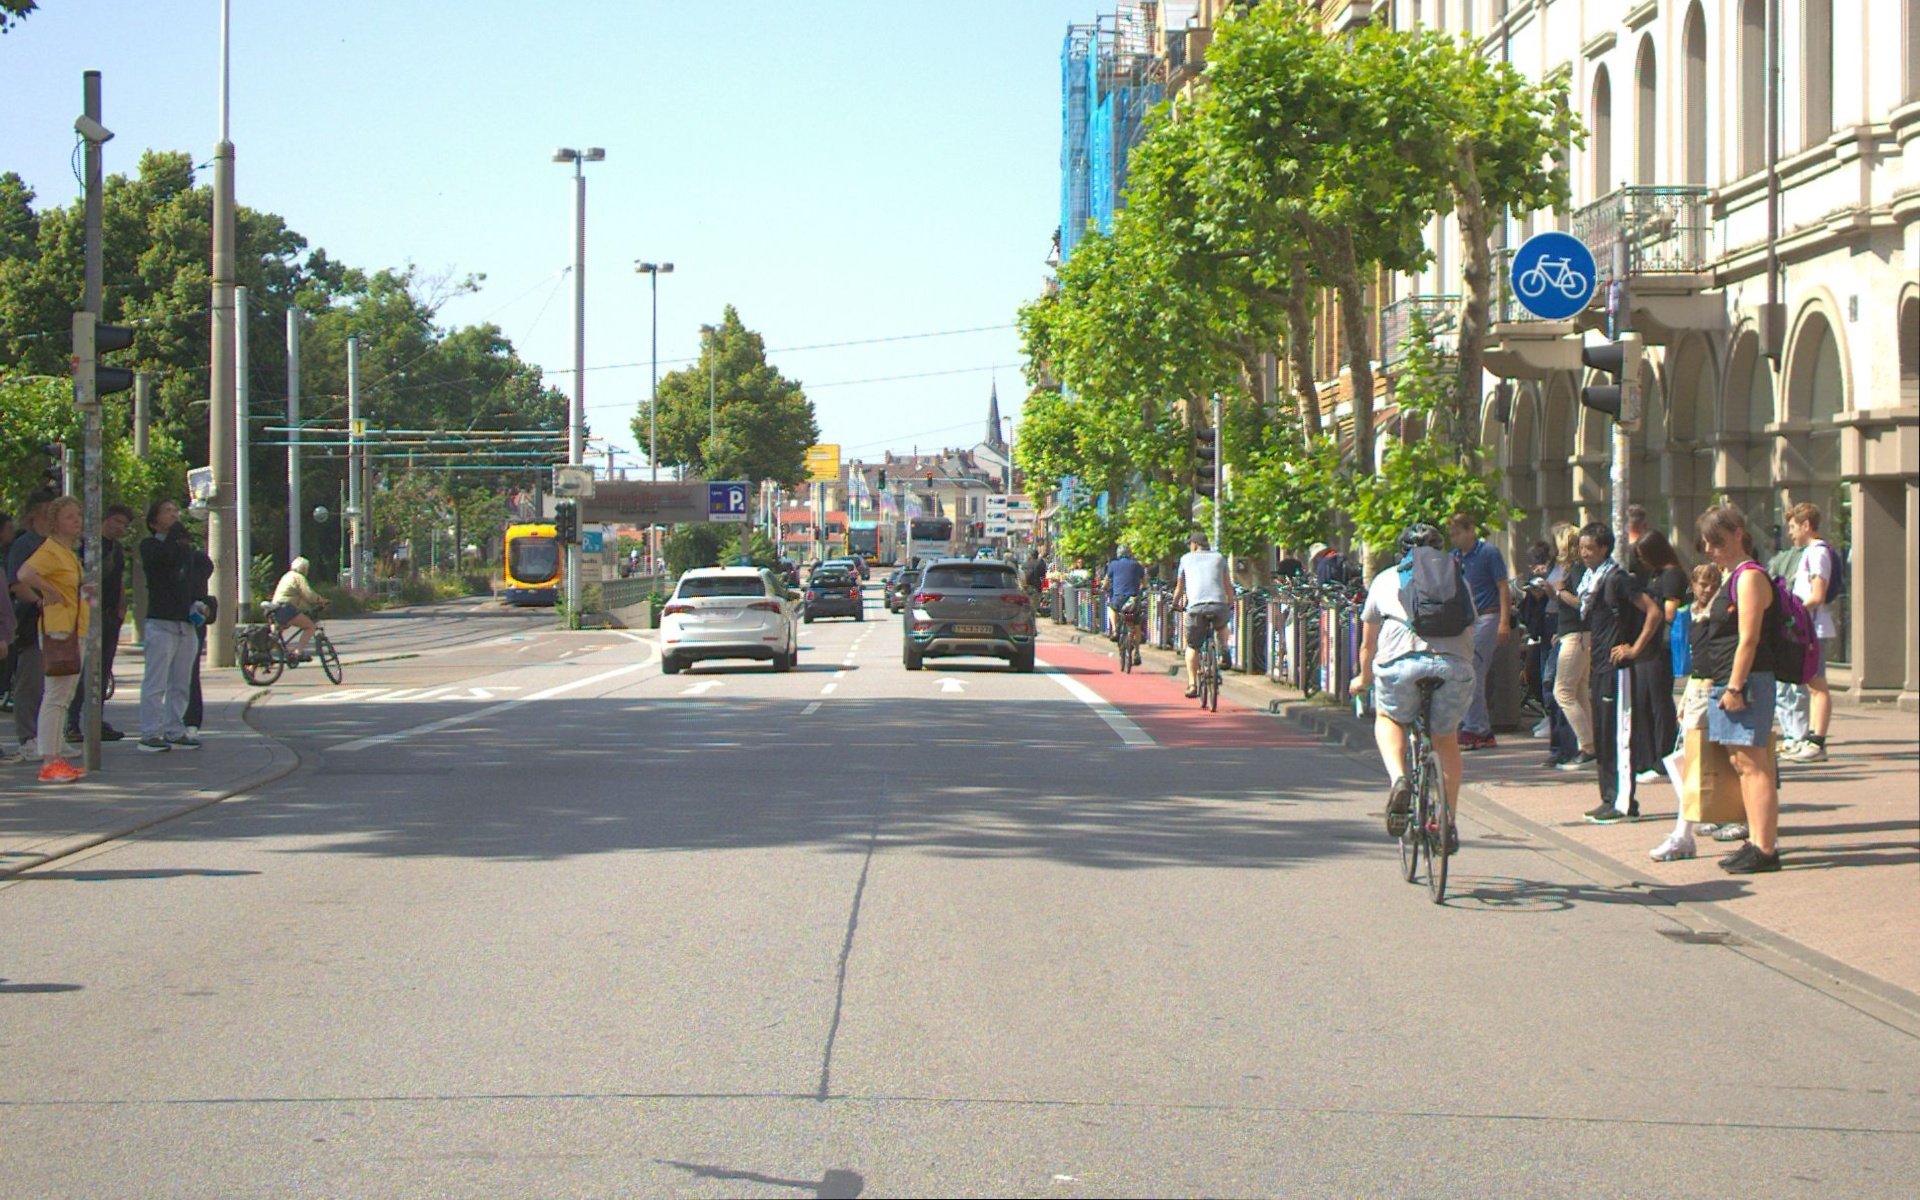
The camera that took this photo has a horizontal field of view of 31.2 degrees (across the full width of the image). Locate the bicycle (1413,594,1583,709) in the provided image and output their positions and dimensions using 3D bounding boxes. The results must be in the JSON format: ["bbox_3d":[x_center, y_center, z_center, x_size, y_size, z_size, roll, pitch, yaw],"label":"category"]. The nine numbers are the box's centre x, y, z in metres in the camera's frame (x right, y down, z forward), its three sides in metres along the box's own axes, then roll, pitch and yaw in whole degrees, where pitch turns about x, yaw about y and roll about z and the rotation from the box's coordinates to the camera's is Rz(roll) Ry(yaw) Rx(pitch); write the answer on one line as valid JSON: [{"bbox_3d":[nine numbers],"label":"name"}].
[{"bbox_3d":[4.740,0.450,30.326,1.420,0.976,0.445,-1,2,0],"label":"bicycle"}]

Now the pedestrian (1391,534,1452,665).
[{"bbox_3d":[5.905,-0.010,44.005,0.675,1.659,0.612,0,0,-2],"label":"pedestrian"}]

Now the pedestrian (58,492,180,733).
[{"bbox_3d":[-6.460,0.088,26.403,0.618,1.817,0.662,0,0,29],"label":"pedestrian"}]

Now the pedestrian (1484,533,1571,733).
[{"bbox_3d":[4.638,0.259,28.072,0.531,1.589,0.611,0,4,26],"label":"pedestrian"}]

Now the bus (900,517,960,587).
[{"bbox_3d":[-1.639,-2.535,184.022,2.994,3.581,11.745,0,0,-1],"label":"bus"}]

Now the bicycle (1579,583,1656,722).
[{"bbox_3d":[5.606,0.431,29.277,0.400,1.110,1.424,0,2,20],"label":"bicycle"}]

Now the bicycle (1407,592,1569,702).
[{"bbox_3d":[4.867,0.428,31.709,1.420,0.976,0.401,-1,2,0],"label":"bicycle"}]

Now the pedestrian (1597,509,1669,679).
[{"bbox_3d":[7.124,-0.063,36.389,0.628,1.785,0.612,0,0,0],"label":"pedestrian"}]

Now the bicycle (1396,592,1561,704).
[{"bbox_3d":[4.716,0.437,31.274,1.420,0.976,0.445,-1,2,0],"label":"bicycle"}]

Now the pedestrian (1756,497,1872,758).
[{"bbox_3d":[5.982,0.188,24.099,0.610,1.800,0.678,0,0,-2],"label":"pedestrian"}]

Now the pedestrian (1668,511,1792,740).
[{"bbox_3d":[5.835,0.184,26.065,0.610,1.699,0.678,-1,1,-28],"label":"pedestrian"}]

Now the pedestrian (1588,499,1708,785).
[{"bbox_3d":[4.441,0.262,22.225,0.610,1.817,0.678,0,0,-2],"label":"pedestrian"}]

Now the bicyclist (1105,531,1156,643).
[{"bbox_3d":[2.370,-0.181,47.962,0.647,1.545,0.817,0,1,-1],"label":"bicyclist"}]

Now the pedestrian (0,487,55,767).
[{"bbox_3d":[-6.551,0.174,22.979,0.633,1.852,0.730,0,0,29],"label":"pedestrian"}]

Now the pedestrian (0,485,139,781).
[{"bbox_3d":[-5.549,0.193,21.205,0.633,1.788,0.730,0,0,20],"label":"pedestrian"}]

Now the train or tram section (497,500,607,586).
[{"bbox_3d":[-16.466,-2.318,139.551,2.613,3.337,11.001,1,1,3],"label":"train or tram section"}]

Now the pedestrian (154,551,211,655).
[{"bbox_3d":[-12.237,0.040,54.124,0.771,1.623,0.612,0,0,-1],"label":"pedestrian"}]

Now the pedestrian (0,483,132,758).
[{"bbox_3d":[-6.195,0.135,23.658,0.633,1.852,0.730,0,0,29],"label":"pedestrian"}]

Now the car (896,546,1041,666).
[{"bbox_3d":[0.080,0.043,47.964,1.845,1.554,4.001,-1,1,-2],"label":"car"}]

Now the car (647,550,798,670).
[{"bbox_3d":[-3.295,0.107,48.318,1.845,1.554,4.000,-1,1,0],"label":"car"}]

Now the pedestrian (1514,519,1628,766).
[{"bbox_3d":[4.249,0.288,23.924,0.582,1.668,0.605,-3,0,-2],"label":"pedestrian"}]

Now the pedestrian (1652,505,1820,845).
[{"bbox_3d":[4.161,0.391,18.475,0.610,1.753,0.678,-4,0,-2],"label":"pedestrian"}]

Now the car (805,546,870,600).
[{"bbox_3d":[-3.567,-0.804,100.816,1.845,1.554,4.000,0,1,-1],"label":"car"}]

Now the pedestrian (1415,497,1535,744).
[{"bbox_3d":[4.043,0.157,26.975,0.688,1.891,0.611,-3,0,26],"label":"pedestrian"}]

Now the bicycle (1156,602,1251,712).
[{"bbox_3d":[2.424,0.552,34.435,0.774,1.002,2.329,0,1,0],"label":"bicycle"}]

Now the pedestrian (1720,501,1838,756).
[{"bbox_3d":[5.910,0.198,24.841,0.610,1.800,0.678,2,0,-2],"label":"pedestrian"}]

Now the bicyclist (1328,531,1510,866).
[{"bbox_3d":[2.096,0.424,15.808,0.630,1.476,1.198,1,1,-1],"label":"bicyclist"}]

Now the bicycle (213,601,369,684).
[{"bbox_3d":[-8.649,0.539,44.518,0.679,1.022,1.963,1,1,43],"label":"bicycle"}]

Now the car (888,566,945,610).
[{"bbox_3d":[-1.466,-0.418,114.707,1.845,1.409,4.000,0,1,-1],"label":"car"}]

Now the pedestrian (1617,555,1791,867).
[{"bbox_3d":[3.765,0.548,17.438,0.610,1.510,0.678,-4,0,-2],"label":"pedestrian"}]

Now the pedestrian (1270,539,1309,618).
[{"bbox_3d":[6.491,-0.425,67.795,0.675,1.567,0.612,0,0,-2],"label":"pedestrian"}]

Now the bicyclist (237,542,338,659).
[{"bbox_3d":[-8.696,-0.001,44.486,1.049,1.497,0.740,0,1,-42],"label":"bicyclist"}]

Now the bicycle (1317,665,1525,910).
[{"bbox_3d":[2.092,0.829,15.834,0.630,0.976,2.003,1,1,-1],"label":"bicycle"}]

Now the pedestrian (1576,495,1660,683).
[{"bbox_3d":[6.312,-0.109,32.974,0.675,1.785,0.612,0,0,0],"label":"pedestrian"}]

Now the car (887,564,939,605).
[{"bbox_3d":[-1.725,-0.581,125.941,1.845,1.409,4.000,0,1,-1],"label":"car"}]

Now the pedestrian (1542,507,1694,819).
[{"bbox_3d":[3.801,0.357,19.892,0.610,1.733,0.678,-4,0,-2],"label":"pedestrian"}]

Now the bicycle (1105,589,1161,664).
[{"bbox_3d":[2.397,0.358,47.828,0.647,0.994,2.031,0,1,-1],"label":"bicycle"}]

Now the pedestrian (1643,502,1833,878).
[{"bbox_3d":[3.776,0.424,16.729,0.671,1.763,0.678,-3,0,-2],"label":"pedestrian"}]

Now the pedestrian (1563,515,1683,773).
[{"bbox_3d":[4.408,0.288,22.888,0.582,1.668,0.605,-3,0,-2],"label":"pedestrian"}]

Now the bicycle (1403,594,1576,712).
[{"bbox_3d":[4.593,0.459,29.864,1.420,0.976,0.445,-1,2,0],"label":"bicycle"}]

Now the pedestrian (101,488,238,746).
[{"bbox_3d":[-5.704,0.116,24.818,0.633,1.828,0.730,0,0,29],"label":"pedestrian"}]

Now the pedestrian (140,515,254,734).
[{"bbox_3d":[-5.878,0.185,26.500,0.618,1.662,0.591,0,0,29],"label":"pedestrian"}]

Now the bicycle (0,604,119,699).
[{"bbox_3d":[-9.933,0.541,36.146,2.081,0.976,0.685,-1,0,-12],"label":"bicycle"}]

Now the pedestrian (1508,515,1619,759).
[{"bbox_3d":[4.303,0.259,24.557,0.582,1.694,0.605,-3,0,-2],"label":"pedestrian"}]

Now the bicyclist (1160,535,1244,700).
[{"bbox_3d":[2.420,0.163,34.410,0.774,1.629,0.851,0,1,0],"label":"bicyclist"}]
